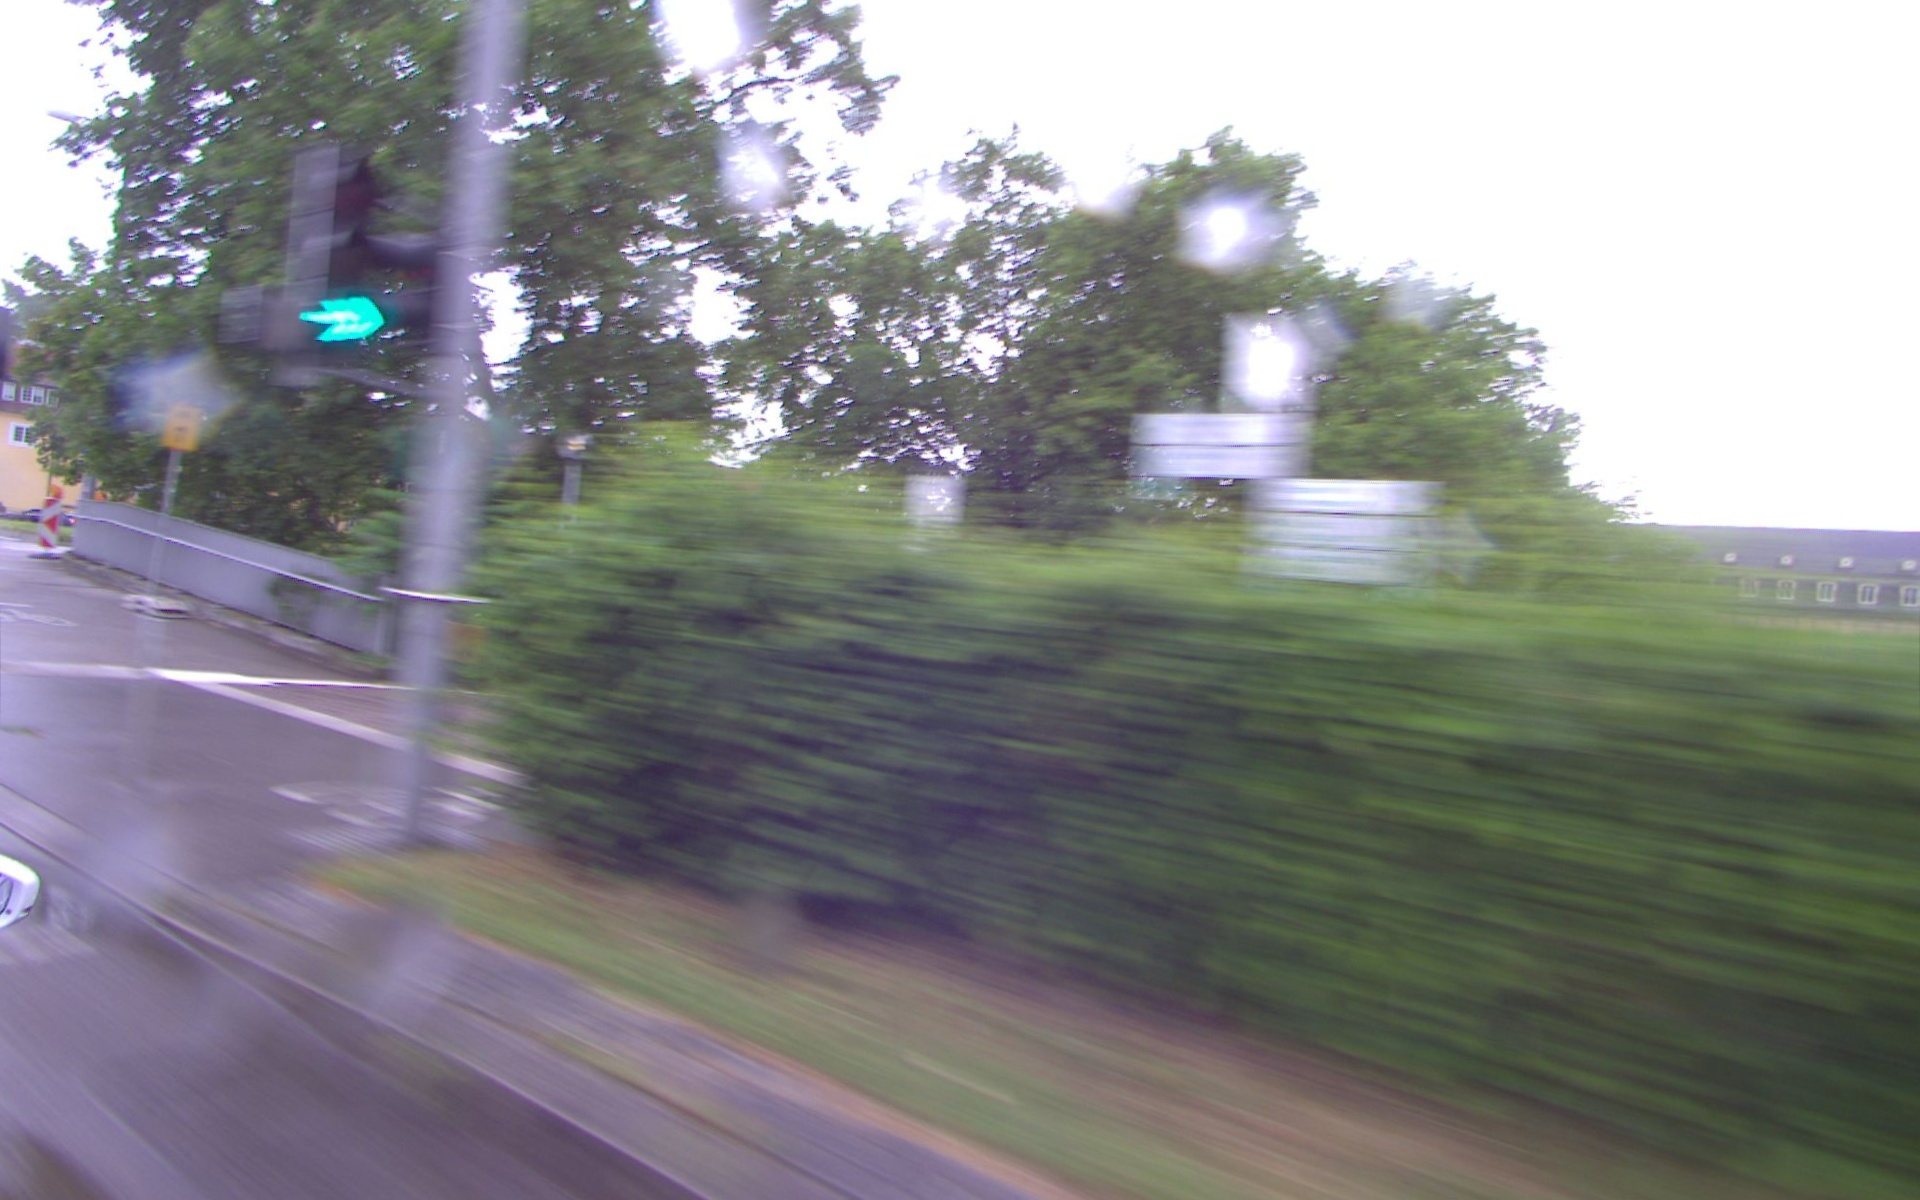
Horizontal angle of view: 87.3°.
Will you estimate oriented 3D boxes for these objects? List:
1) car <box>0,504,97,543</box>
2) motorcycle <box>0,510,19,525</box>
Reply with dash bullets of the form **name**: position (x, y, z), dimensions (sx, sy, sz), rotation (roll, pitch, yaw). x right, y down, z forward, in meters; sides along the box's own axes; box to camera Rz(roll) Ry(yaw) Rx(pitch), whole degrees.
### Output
- **car**: position (-59.142, -4.971, 64.884), dimensions (4.744, 1.728, 1.995), rotation (7, -3, -16)
- **motorcycle**: position (-63.727, -5.540, 66.601), dimensions (1.954, 0.862, 0.541), rotation (9, -3, -36)
